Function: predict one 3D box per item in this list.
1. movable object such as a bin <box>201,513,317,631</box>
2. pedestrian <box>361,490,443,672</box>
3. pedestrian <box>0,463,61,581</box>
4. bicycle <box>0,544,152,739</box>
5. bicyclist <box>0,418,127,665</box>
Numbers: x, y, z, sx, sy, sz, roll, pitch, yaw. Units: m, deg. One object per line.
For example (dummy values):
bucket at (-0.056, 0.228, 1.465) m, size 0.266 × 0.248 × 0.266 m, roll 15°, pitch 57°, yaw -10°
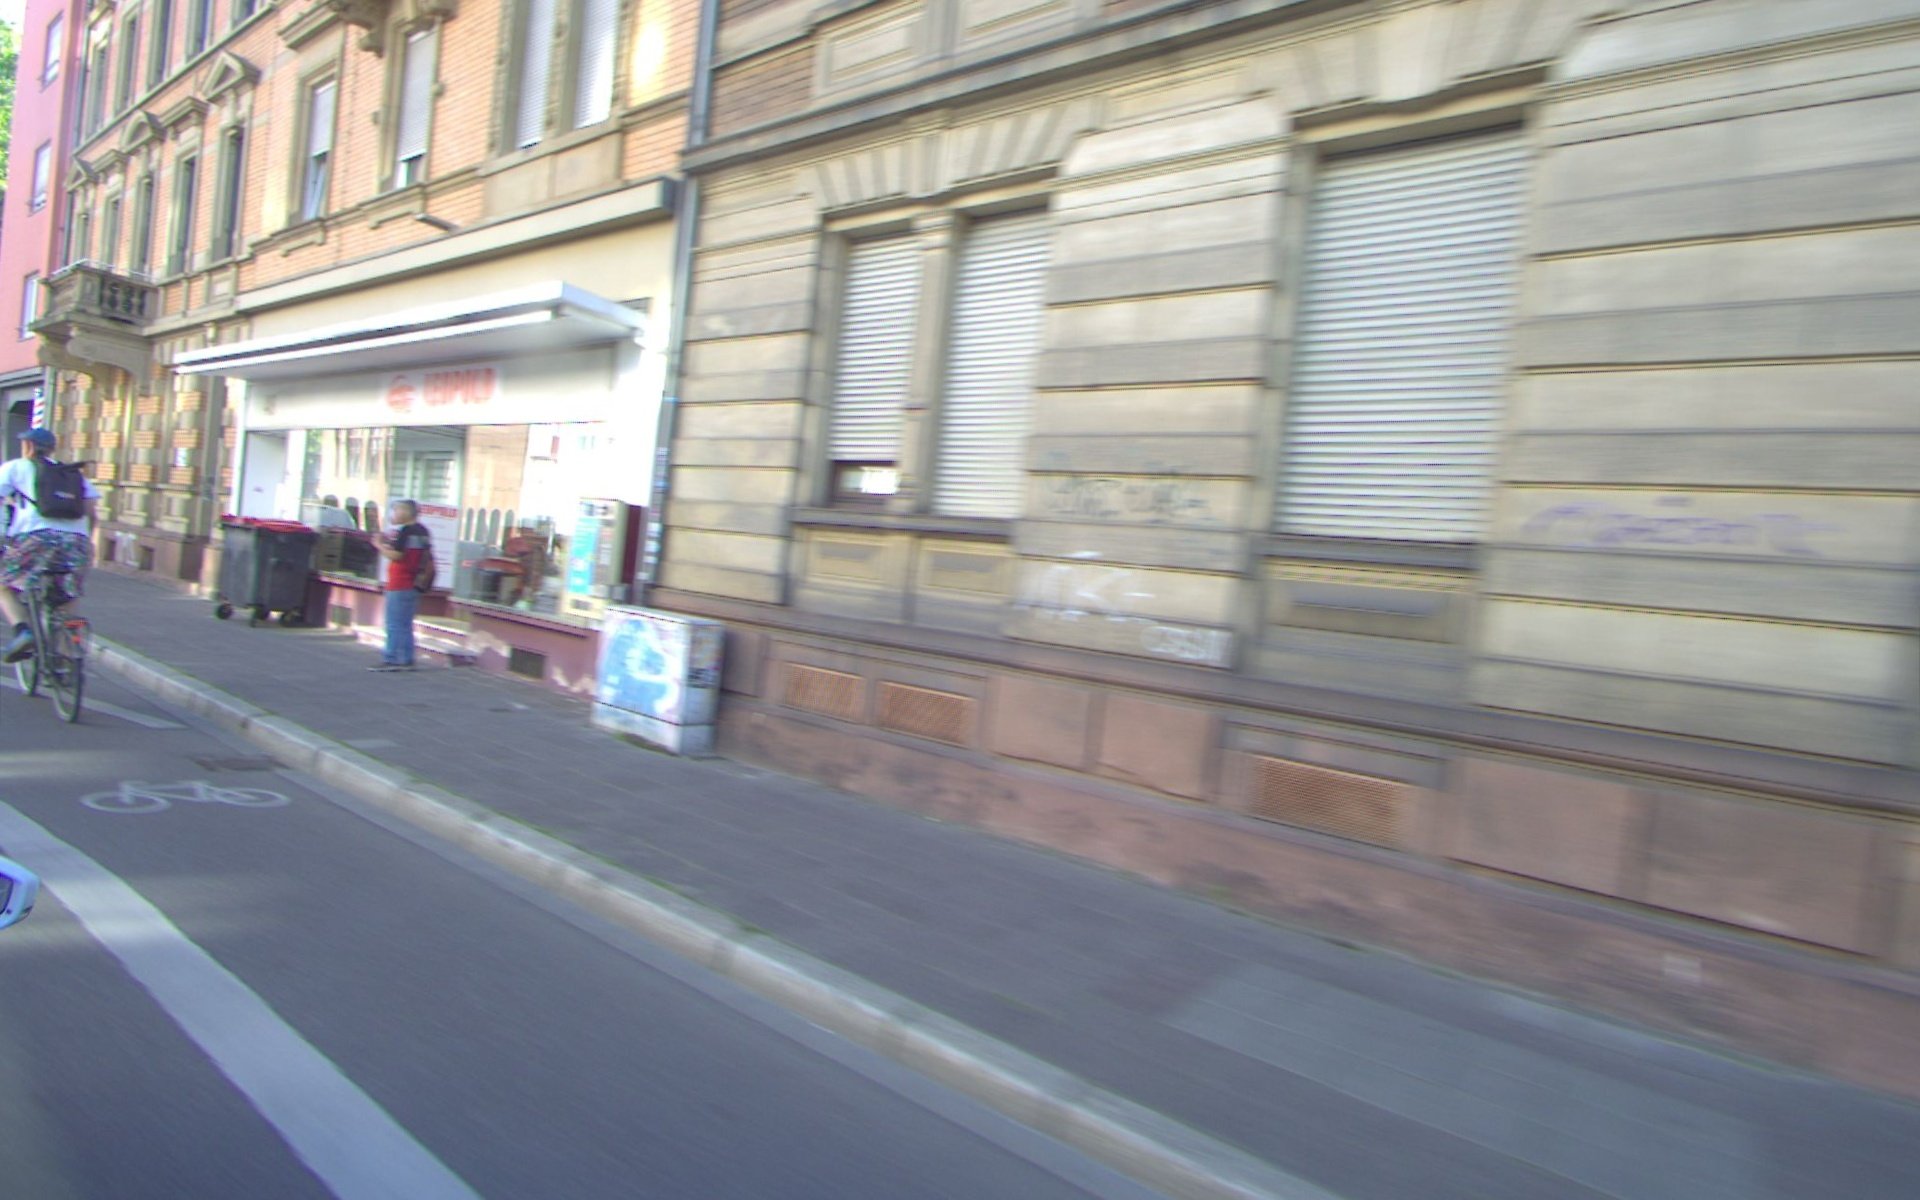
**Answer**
movable object such as a bin at (-9.092, -0.363, 13.040) m, size 1.279 × 1.364 × 0.775 m, roll 7°, pitch 1°, yaw 36°
pedestrian at (-5.644, -0.197, 10.195) m, size 0.463 × 1.751 × 0.585 m, roll 6°, pitch 2°, yaw -16°
pedestrian at (-15.441, -1.281, 16.582) m, size 0.744 × 1.837 × 0.672 m, roll 7°, pitch 1°, yaw 37°
bicycle at (-6.702, 0.238, 7.286) m, size 2.061 × 1.153 × 0.648 m, roll 7°, pitch 0°, yaw 33°
bicyclist at (-6.764, -0.422, 7.369) m, size 0.912 × 1.676 × 0.655 m, roll 7°, pitch 1°, yaw 34°
